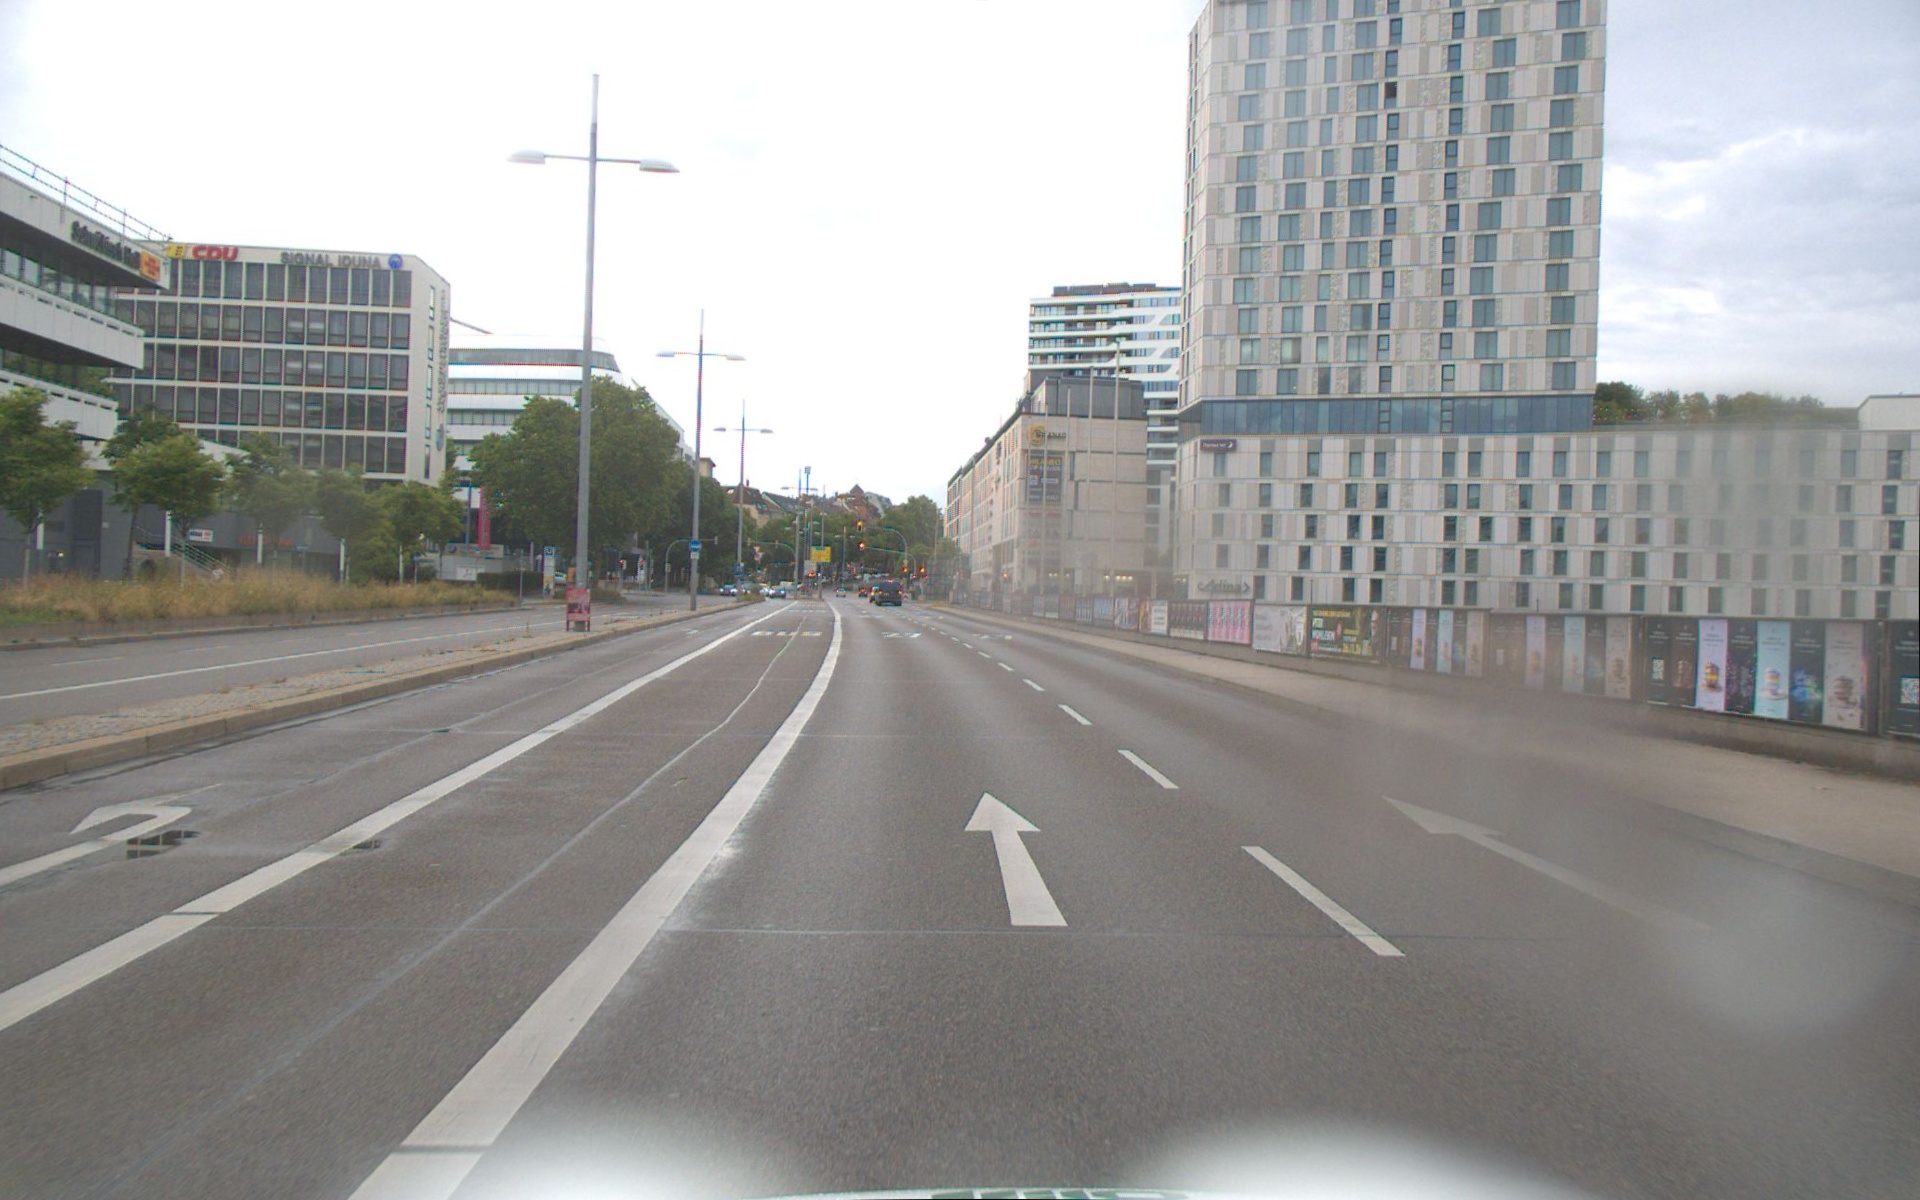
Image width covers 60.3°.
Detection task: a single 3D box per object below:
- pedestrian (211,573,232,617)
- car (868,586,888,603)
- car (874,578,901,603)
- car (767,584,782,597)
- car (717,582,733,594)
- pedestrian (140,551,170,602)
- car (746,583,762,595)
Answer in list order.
[{"bbox_3d":[-31.320,-0.225,70.143,0.617,1.839,0.628,1,-1,-4],"label":"pedestrian"},{"bbox_3d":[-7.785,-0.506,157.589,1.706,1.558,3.809,1,-1,-6],"label":"car"},{"bbox_3d":[-5.866,-0.805,133.000,1.993,1.915,5.038,-1,1,-4],"label":"car"},{"bbox_3d":[-22.747,-1.165,202.777,1.709,1.470,3.391,1,-1,-5],"label":"car"},{"bbox_3d":[-28.749,-1.429,202.415,1.709,1.352,4.221,1,-1,-5],"label":"car"},{"bbox_3d":[-29.538,-0.863,60.665,0.769,1.839,0.628,1,-1,-4],"label":"pedestrian"},{"bbox_3d":[-25.326,-1.356,203.190,1.709,1.279,3.536,2,1,-5],"label":"car"}]
